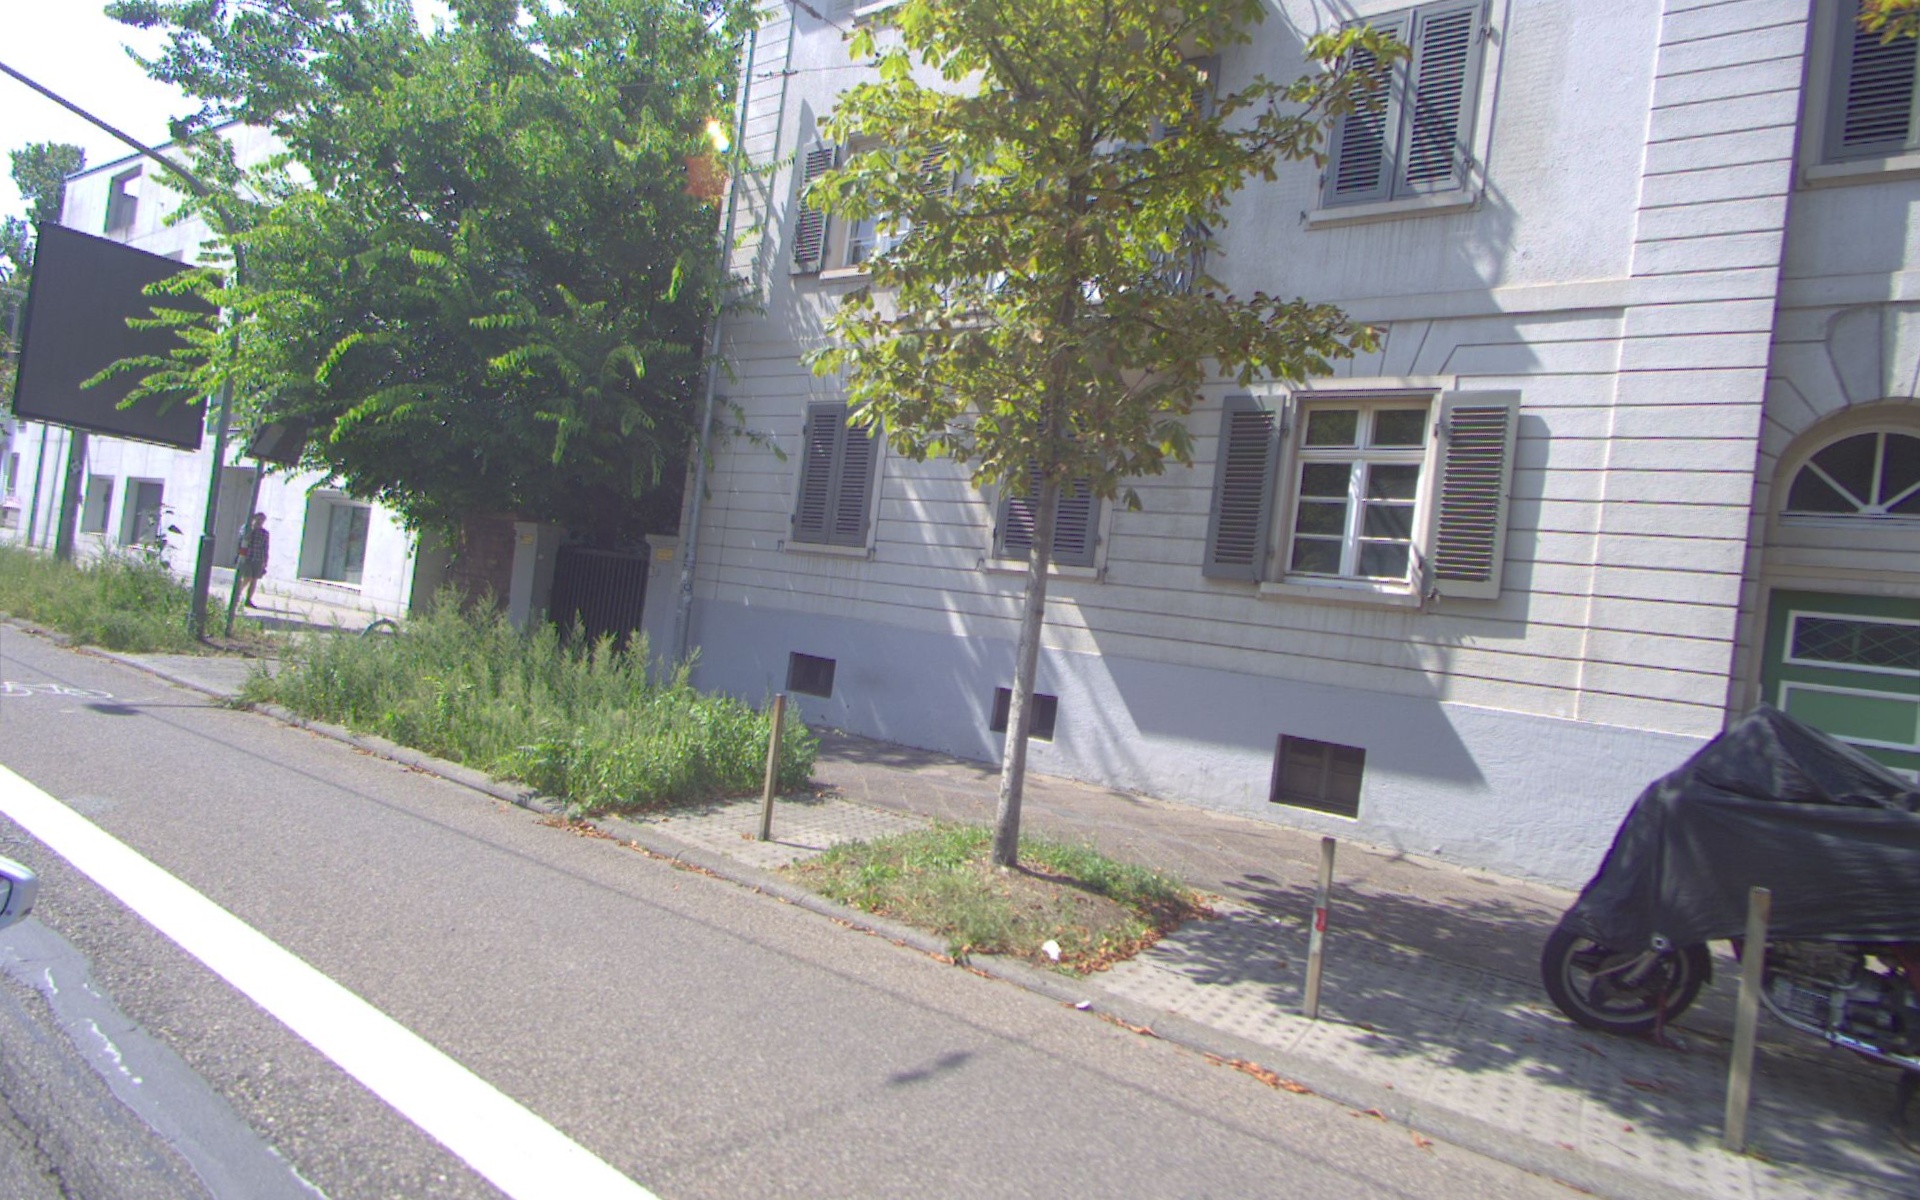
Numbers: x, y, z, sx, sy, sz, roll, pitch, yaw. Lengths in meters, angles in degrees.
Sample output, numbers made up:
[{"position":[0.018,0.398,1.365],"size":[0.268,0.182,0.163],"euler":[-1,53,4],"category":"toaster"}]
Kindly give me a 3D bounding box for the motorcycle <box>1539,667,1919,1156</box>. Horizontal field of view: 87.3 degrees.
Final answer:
[{"position":[3.728,1.199,3.826],"size":[2.379,1.571,0.884],"euler":[6,-1,43],"category":"motorcycle"}]

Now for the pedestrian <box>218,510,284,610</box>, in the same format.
[{"position":[-13.327,-0.748,18.922],"size":[0.570,1.752,0.692],"euler":[7,-1,36],"category":"pedestrian"}]
